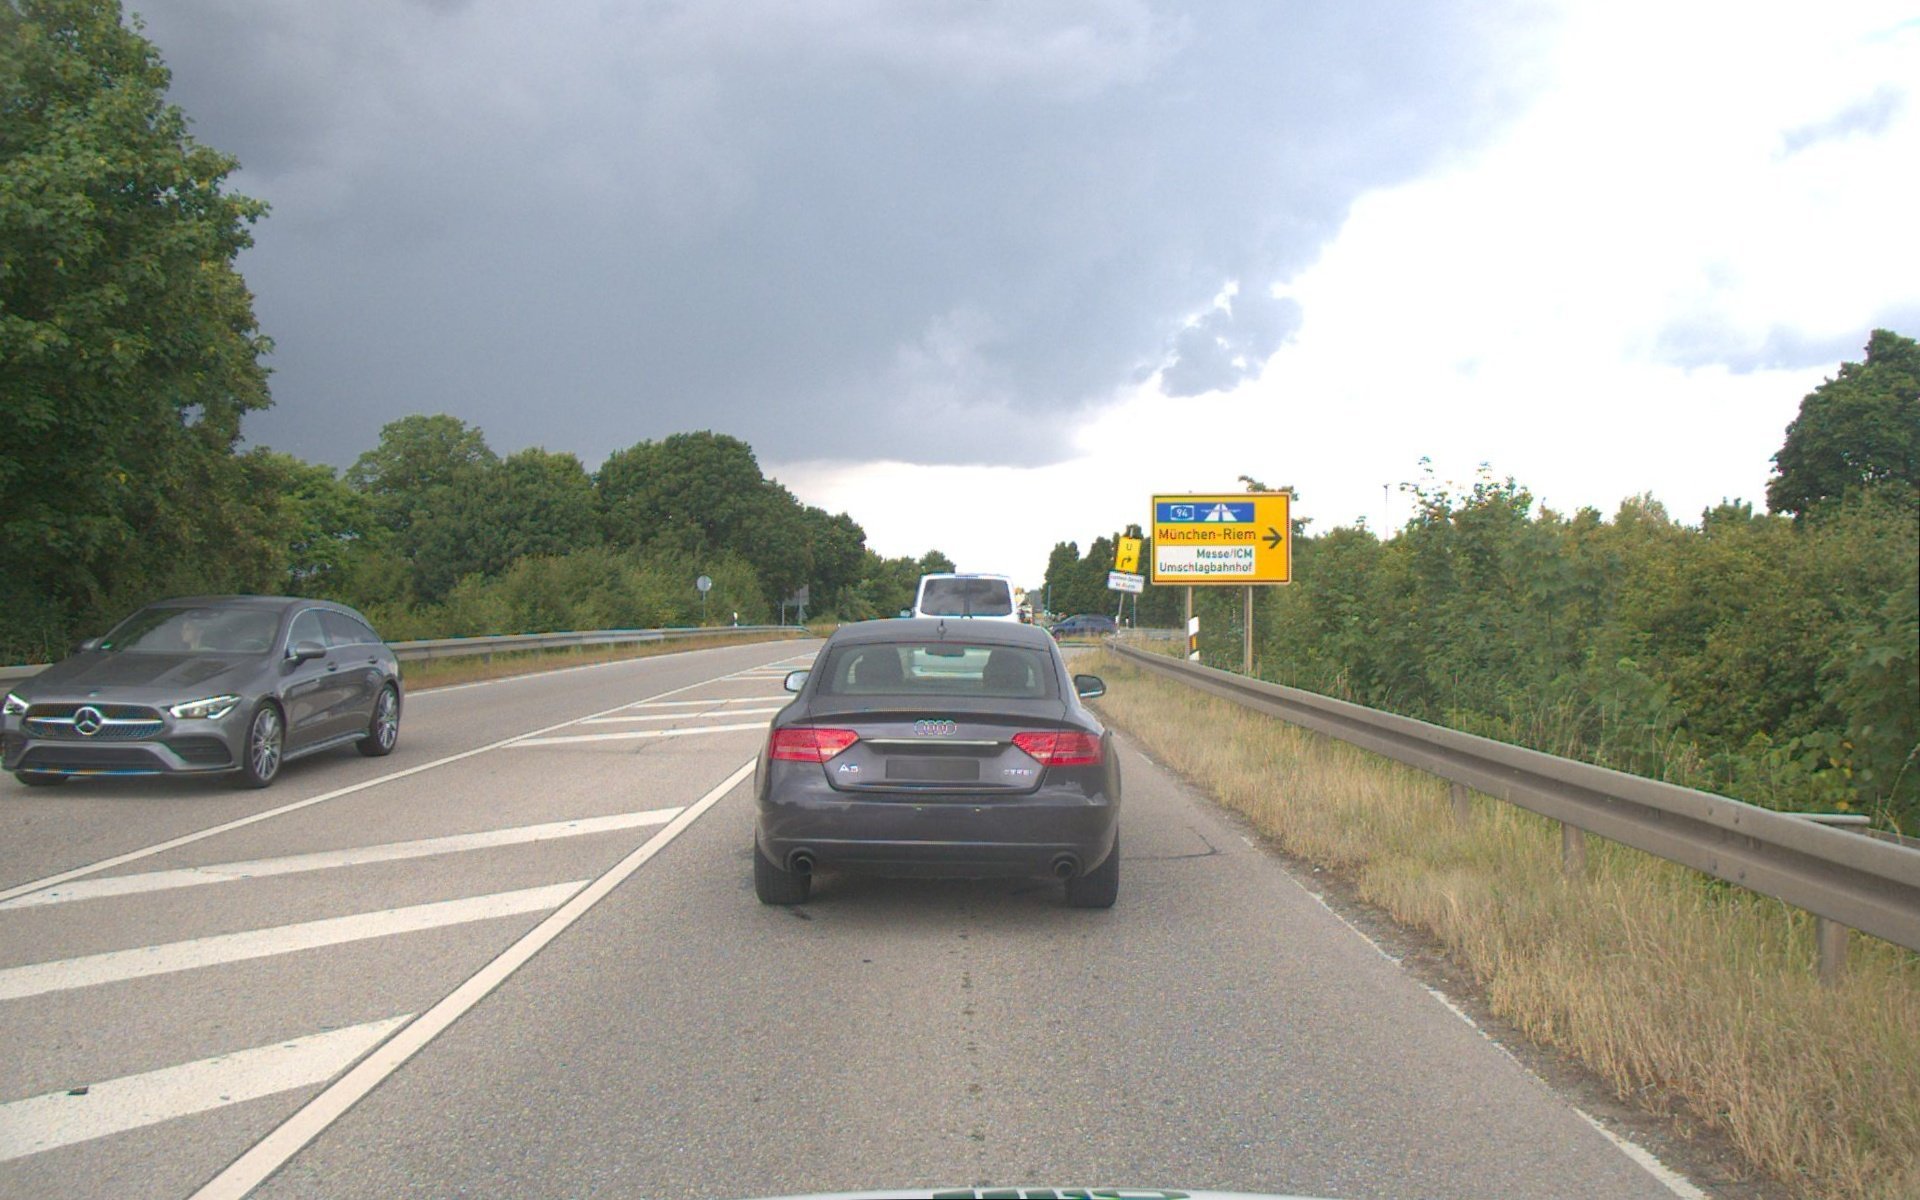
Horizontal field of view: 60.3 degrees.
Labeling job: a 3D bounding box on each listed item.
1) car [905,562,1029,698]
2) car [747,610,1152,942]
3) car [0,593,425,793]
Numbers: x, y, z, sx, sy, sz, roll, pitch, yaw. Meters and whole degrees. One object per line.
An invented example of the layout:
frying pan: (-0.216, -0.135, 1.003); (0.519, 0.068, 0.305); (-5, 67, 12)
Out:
car: (0.093, 0.463, 27.449); (1.871, 2.049, 3.999); (1, 0, -1)
car: (-0.067, 0.777, 8.838); (1.743, 1.423, 3.335); (1, -1, -1)
car: (-6.005, 0.658, 13.912); (1.589, 1.403, 4.511); (0, 0, -1)
